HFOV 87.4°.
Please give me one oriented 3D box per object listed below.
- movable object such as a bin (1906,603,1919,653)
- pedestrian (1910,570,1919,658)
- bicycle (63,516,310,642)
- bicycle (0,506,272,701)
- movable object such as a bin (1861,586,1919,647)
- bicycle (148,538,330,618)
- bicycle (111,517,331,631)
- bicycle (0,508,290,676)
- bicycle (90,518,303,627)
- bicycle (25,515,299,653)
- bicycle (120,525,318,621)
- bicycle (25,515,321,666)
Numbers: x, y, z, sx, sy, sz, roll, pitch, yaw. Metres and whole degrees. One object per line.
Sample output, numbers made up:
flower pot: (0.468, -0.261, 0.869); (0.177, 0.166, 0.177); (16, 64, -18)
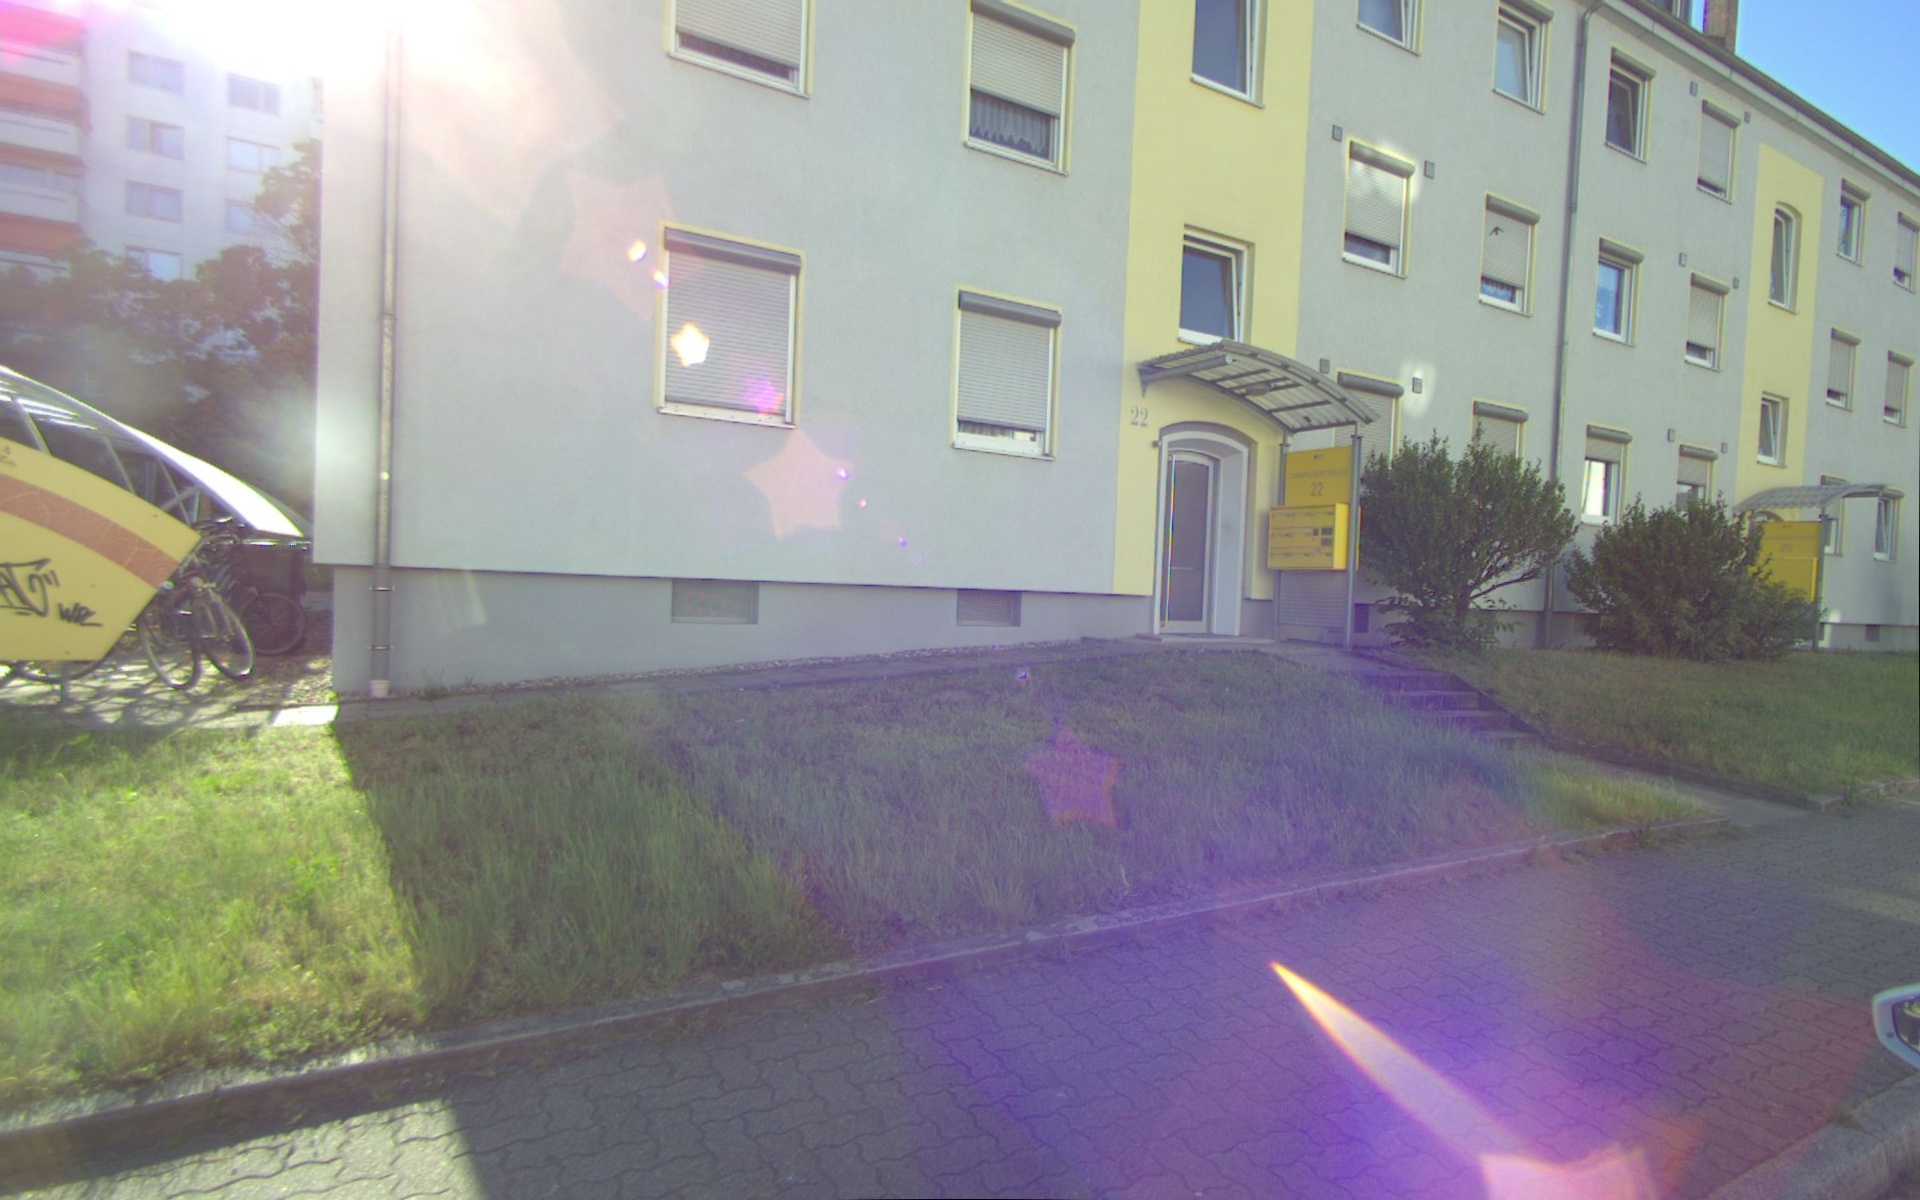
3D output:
movable object such as a bin: (26.911, 0.812, 27.311); (1.214, 1.354, 1.381); (1, 3, -30)
pedestrian: (20.668, 0.315, 21.107); (0.709, 1.848, 0.802); (1, 1, -29)
bicycle: (-8.089, -0.201, 10.622); (1.986, 1.235, 0.637); (1, 2, -30)
bicycle: (-6.031, 0.016, 6.989); (1.986, 1.267, 0.637); (1, 2, -30)
movable object such as a bin: (22.848, 0.391, 24.453); (0.803, 1.425, 1.079); (1, 2, -29)
bicycle: (-9.943, -0.293, 13.948); (1.986, 1.020, 0.637); (1, 2, -30)
bicycle: (-8.530, -0.284, 11.712); (1.986, 1.235, 0.637); (1, 2, -30)
bicycle: (-6.578, -0.054, 8.013); (1.986, 1.235, 0.637); (1, 2, -30)
bicycle: (-9.230, -0.313, 12.253); (1.986, 1.235, 0.637); (1, 2, -30)
bicycle: (-7.651, -0.132, 9.760); (1.986, 1.235, 0.637); (1, 2, -30)
bicycle: (-9.549, -0.338, 13.045); (1.986, 1.146, 0.637); (1, 2, -30)
bicycle: (-6.931, -0.071, 8.989); (1.986, 1.235, 0.674); (1, 2, -30)
